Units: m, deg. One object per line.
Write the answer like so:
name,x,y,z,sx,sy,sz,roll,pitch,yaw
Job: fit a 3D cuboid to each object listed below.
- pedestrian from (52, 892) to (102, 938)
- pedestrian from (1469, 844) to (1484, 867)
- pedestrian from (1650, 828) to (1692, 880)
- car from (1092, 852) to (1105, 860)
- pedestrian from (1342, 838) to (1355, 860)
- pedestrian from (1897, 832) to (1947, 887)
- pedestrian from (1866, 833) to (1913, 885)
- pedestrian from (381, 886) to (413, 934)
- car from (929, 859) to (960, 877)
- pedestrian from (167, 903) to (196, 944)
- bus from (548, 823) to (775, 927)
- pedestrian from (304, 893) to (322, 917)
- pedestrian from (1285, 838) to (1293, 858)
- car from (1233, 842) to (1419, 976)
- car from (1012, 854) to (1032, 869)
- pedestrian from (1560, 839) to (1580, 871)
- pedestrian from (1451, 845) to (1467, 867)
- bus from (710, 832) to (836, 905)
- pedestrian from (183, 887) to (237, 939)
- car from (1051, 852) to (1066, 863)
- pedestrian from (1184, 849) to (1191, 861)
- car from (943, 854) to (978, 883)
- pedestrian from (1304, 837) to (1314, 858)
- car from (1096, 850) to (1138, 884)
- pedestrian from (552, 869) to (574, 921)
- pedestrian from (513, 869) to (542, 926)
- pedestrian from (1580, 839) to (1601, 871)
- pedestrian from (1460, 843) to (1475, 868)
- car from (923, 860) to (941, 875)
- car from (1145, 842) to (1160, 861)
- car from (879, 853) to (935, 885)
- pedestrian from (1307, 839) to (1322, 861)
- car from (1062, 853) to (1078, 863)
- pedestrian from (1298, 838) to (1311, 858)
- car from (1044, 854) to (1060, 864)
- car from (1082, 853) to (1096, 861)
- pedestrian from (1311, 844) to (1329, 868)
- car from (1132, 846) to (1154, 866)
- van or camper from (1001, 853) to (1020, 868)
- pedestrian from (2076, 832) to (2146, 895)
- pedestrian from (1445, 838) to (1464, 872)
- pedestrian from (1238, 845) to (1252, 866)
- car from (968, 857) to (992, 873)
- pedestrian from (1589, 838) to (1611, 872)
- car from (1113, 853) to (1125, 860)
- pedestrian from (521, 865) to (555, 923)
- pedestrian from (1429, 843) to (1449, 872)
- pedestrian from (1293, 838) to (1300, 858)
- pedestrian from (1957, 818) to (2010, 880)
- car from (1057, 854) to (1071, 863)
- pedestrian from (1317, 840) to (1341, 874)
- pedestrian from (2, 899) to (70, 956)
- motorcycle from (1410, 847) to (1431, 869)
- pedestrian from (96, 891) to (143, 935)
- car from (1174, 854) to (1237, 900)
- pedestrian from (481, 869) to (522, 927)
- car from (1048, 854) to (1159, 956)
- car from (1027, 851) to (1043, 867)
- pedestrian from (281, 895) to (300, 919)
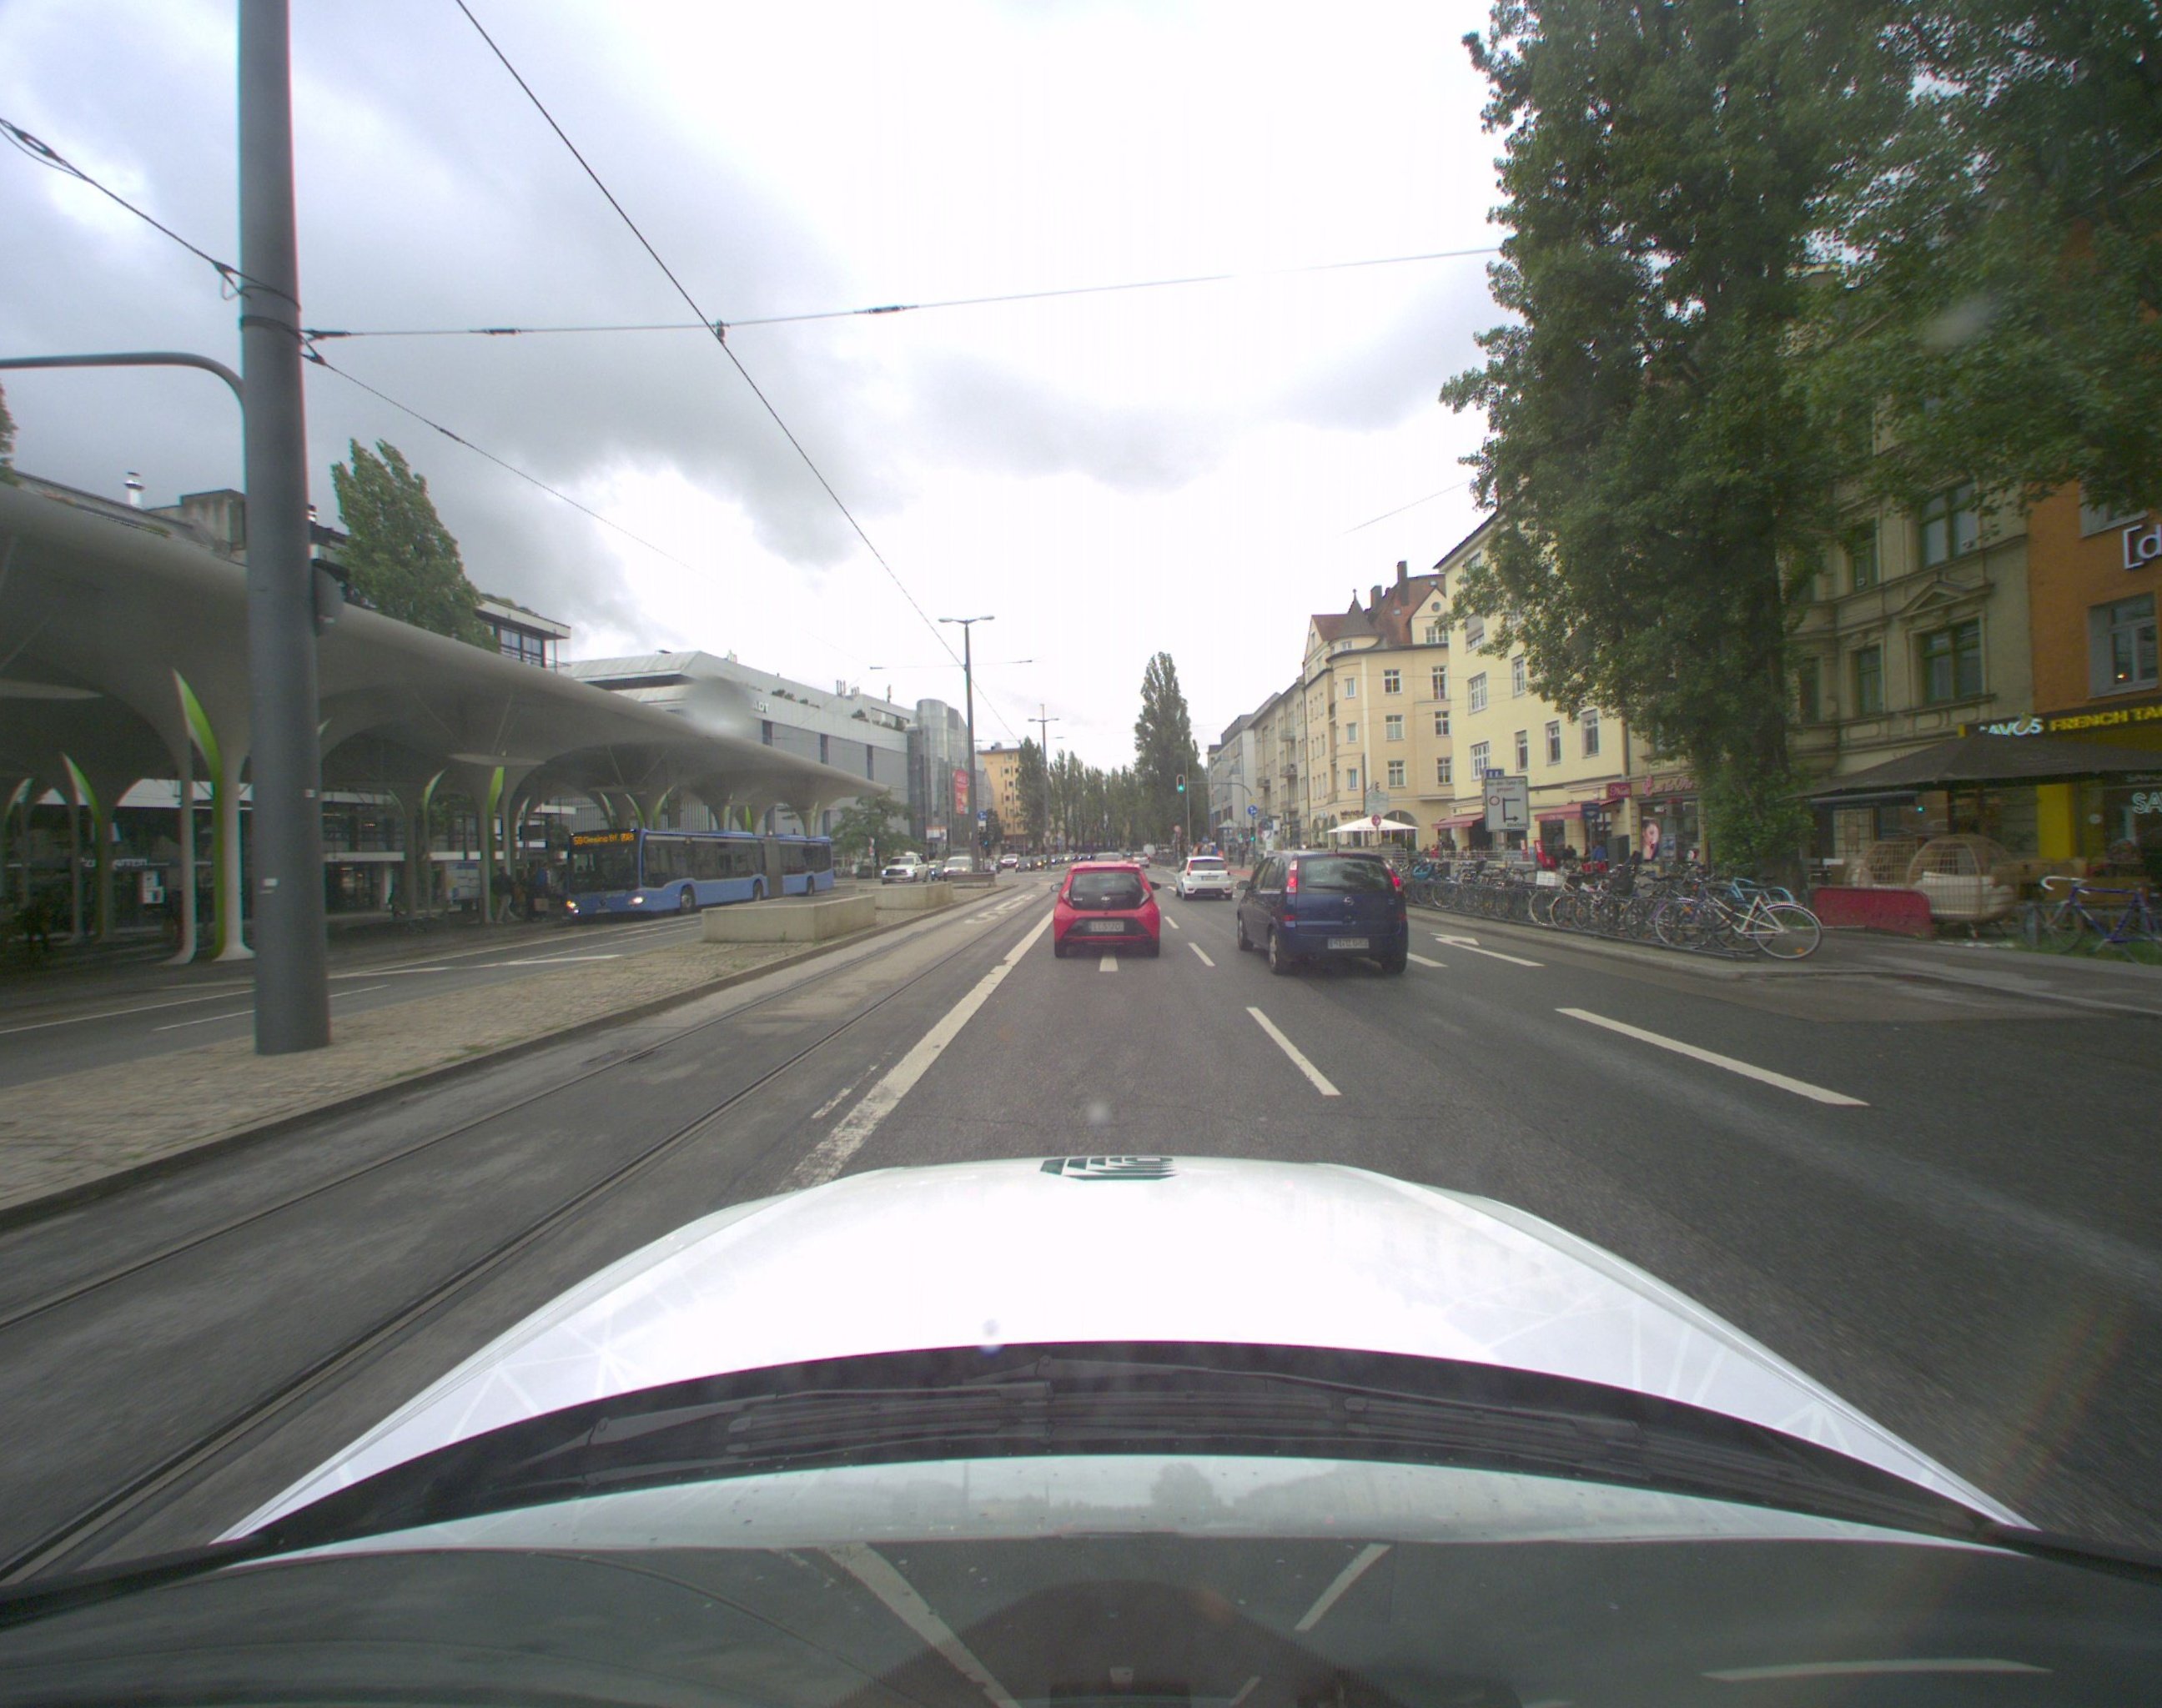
pedestrian,-41.077,2.489,33.332,0.921,1.773,1.004,-2,0,21
pedestrian,20.721,0.072,42.635,0.476,1.166,0.527,-2,0,0
pedestrian,18.782,-0.002,25.938,0.707,1.632,0.787,-2,0,2
car,3.690,0.393,172.271,1.982,1.691,4.932,-2,0,8
pedestrian,21.937,-0.411,66.820,0.674,1.684,0.751,0,4,42
pedestrian,20.436,0.134,19.802,0.581,1.280,0.583,-2,0,1
pedestrian,20.484,0.131,20.640,0.581,1.280,0.583,-2,0,1
pedestrian,-29.707,2.421,35.372,0.664,2.013,0.913,-2,0,40
car,-11.290,1.160,67.714,1.667,1.378,4.614,-2,0,1
pedestrian,-29.026,2.226,26.277,0.513,1.265,0.578,-3,0,39
bus,-14.786,0.633,30.149,2.651,3.007,10.516,-4,0,1
pedestrian,-45.207,3.000,47.950,0.507,1.333,0.580,-2,0,20
pedestrian,17.754,-0.522,69.521,0.560,1.670,0.566,-2,3,24
car,3.287,0.664,11.620,1.696,1.589,3.558,-1,0,2
car,-5.794,0.719,79.416,1.546,1.445,3.526,-2,0,-11
pedestrian,20.289,0.048,33.798,0.493,1.289,0.552,-2,0,2
pedestrian,21.208,0.104,45.691,0.512,1.182,0.703,-2,0,0
bus,-14.522,0.606,39.146,2.649,3.007,7.519,-4,0,3
pedestrian,-30.906,2.075,28.906,0.866,1.730,0.897,-3,0,7
car,-3.686,0.582,133.041,1.735,1.670,4.739,-3,0,5
pedestrian,13.279,0.148,101.599,0.793,1.522,0.813,-2,0,8
car,-8.391,1.001,57.148,1.780,1.855,4.217,-3,0,0
pedestrian,19.165,-0.531,68.509,0.644,1.751,0.639,-2,3,11
car,1.811,0.642,41.888,1.986,1.618,4.002,-2,0,2
pedestrian,-16.383,1.299,25.747,0.391,1.605,0.390,-2,0,-3
pedestrian,-17.522,1.370,25.791,0.505,1.734,0.570,-2,0,-10
pedestrian,21.134,0.047,33.775,0.493,1.289,0.552,-2,0,2
pedestrian,20.717,0.069,43.647,0.476,1.299,0.527,-2,0,0
car,-17.198,1.537,93.995,1.994,1.536,4.399,-3,1,-10
car,11.159,-0.381,127.631,2.098,2.718,4.808,-2,0,3
car,-11.055,0.904,52.174,2.168,1.887,6.156,-2,0,0
pedestrian,19.317,-0.343,67.383,0.928,1.755,1.068,-2,0,8
car,-1.978,0.780,149.225,1.924,1.738,4.602,-1,0,10
pedestrian,19.012,-0.525,69.325,0.648,1.705,0.727,-5,3,-27
car,-4.358,0.716,123.494,1.985,1.412,4.171,-1,0,3
car,1.587,0.557,163.143,1.980,1.534,4.603,-2,0,12
pedestrian,15.592,0.133,53.096,0.730,1.540,0.887,-2,0,-13
car,6.144,0.186,81.574,1.986,1.838,4.002,-2,0,2
van or camper,-9.230,0.842,107.256,1.921,1.826,5.441,-2,0,1
pedestrian,20.540,0.192,16.246,0.620,1.218,0.583,-2,0,1
pedestrian,18.363,0.050,40.068,0.612,1.632,0.678,-2,0,2
pedestrian,13.755,0.139,68.383,0.826,1.691,0.825,-2,0,39
car,-9.653,1.016,77.804,1.672,1.395,4.232,-2,0,0
pedestrian,20.918,0.048,32.845,0.493,1.332,0.552,-2,0,2
car,9.236,0.583,195.423,1.978,1.728,3.934,-2,0,16
pedestrian,-16.855,1.235,25.286,0.565,1.743,0.753,-3,0,-13
pedestrian,17.886,0.188,40.694,0.673,1.422,0.617,-2,0,2
pedestrian,18.442,-0.525,69.611,0.556,1.609,0.570,-2,3,15
pedestrian,22.280,-0.127,20.115,0.622,1.475,0.584,-2,0,4
car,-2.919,0.794,141.723,1.756,1.421,4.647,-2,0,6
pedestrian,13.222,0.173,43.409,0.882,1.743,0.854,-2,0,-15
pedestrian,-29.967,2.087,23.368,0.742,1.508,0.895,-2,0,-5
motorcycle,18.689,0.223,44.862,0.484,1.156,1.572,-2,0,3
pedestrian,-40.686,2.486,34.458,0.921,1.773,1.004,-2,0,21
car,4.236,0.732,28.167,1.693,1.426,3.498,-2,0,2
pedestrian,-18.070,1.360,25.402,0.714,1.721,0.878,-2,0,-13
car,0.418,0.748,13.469,1.598,1.461,3.132,-1,0,3
car,-4.785,0.544,84.284,1.501,1.534,2.831,-2,0,-6
pedestrian,-45.160,3.005,46.528,0.507,1.333,0.580,-2,0,20
